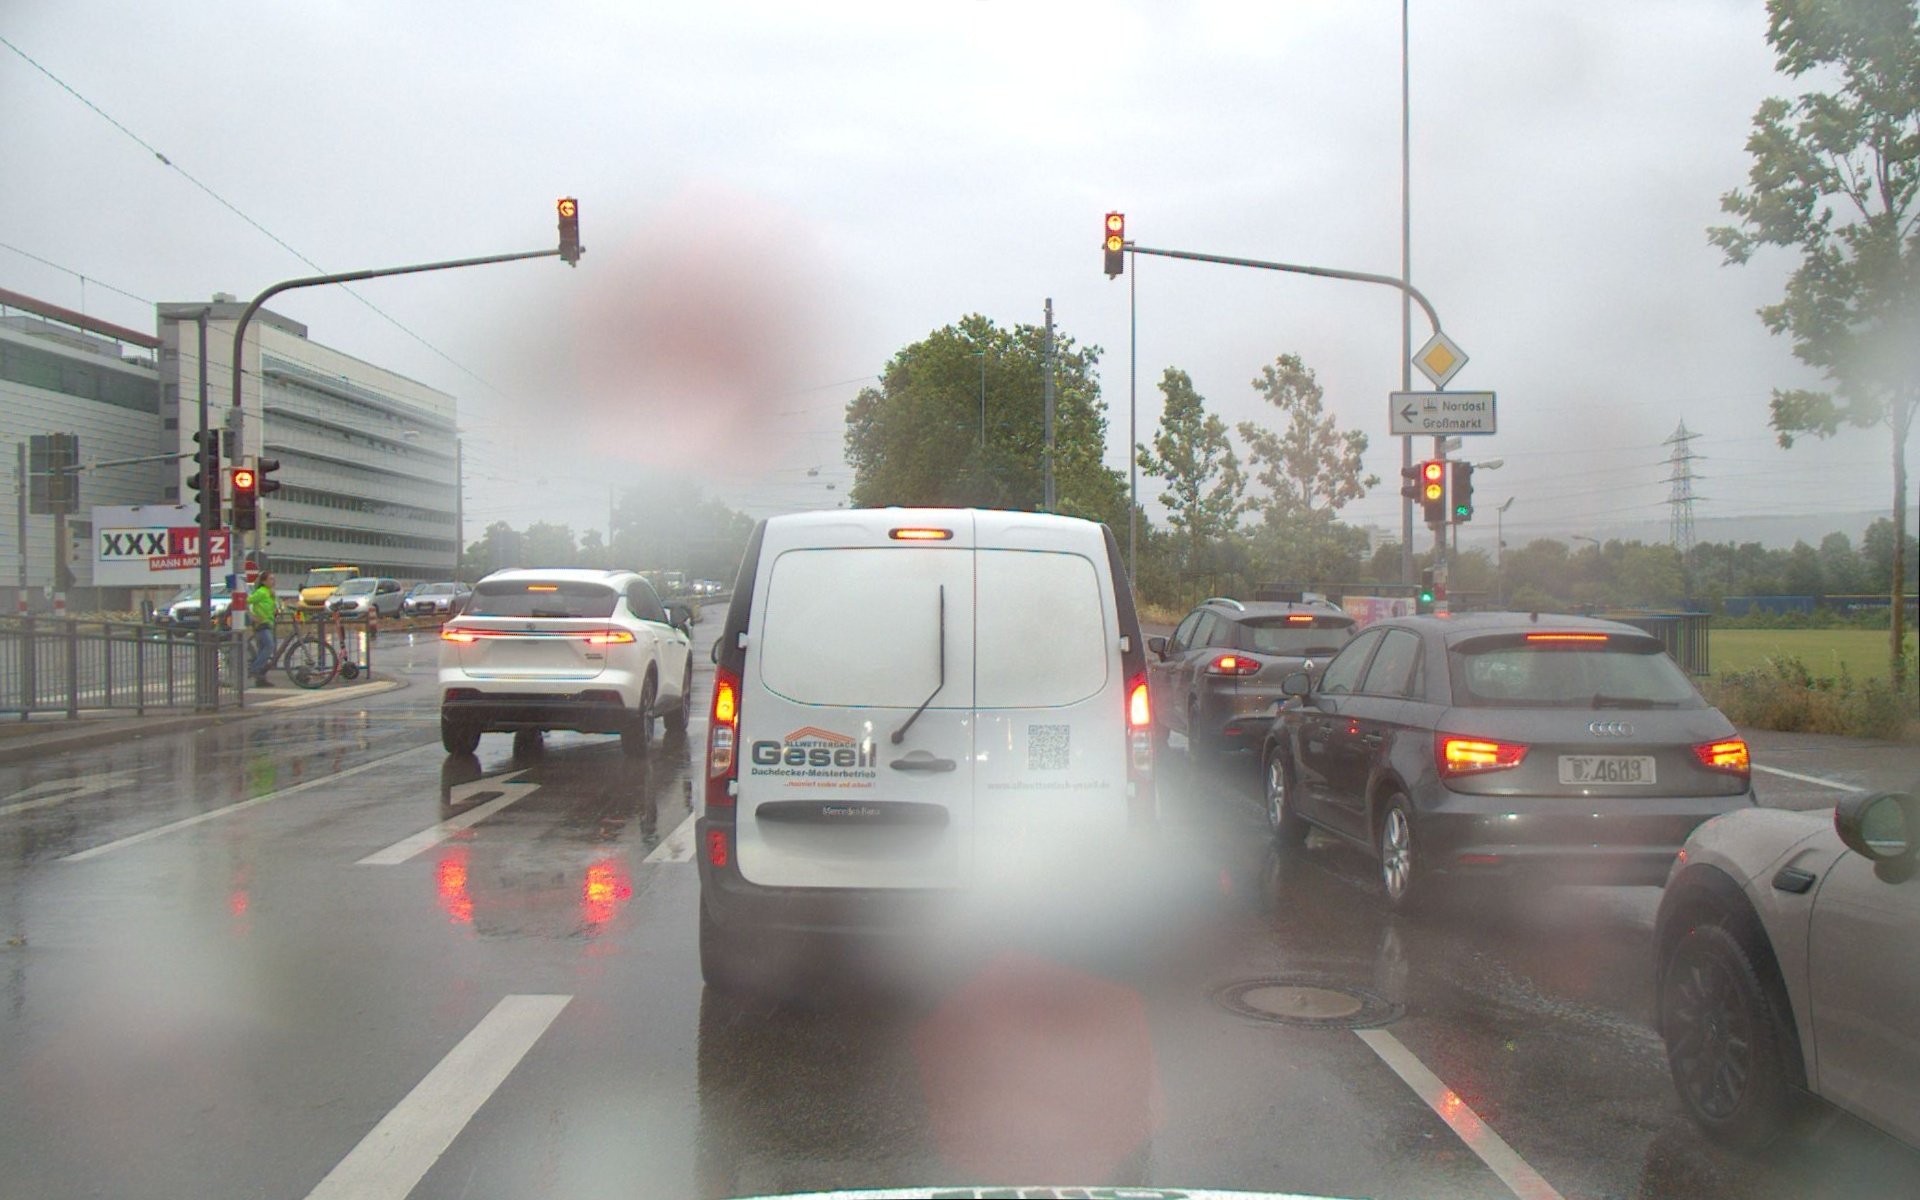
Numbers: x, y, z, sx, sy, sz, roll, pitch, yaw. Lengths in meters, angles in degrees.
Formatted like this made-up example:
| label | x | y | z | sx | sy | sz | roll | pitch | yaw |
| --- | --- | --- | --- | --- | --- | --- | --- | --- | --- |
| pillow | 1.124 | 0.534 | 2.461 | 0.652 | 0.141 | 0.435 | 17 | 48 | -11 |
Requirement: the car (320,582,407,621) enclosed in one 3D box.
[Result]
| label | x | y | z | sx | sy | sz | roll | pitch | yaw |
| --- | --- | --- | --- | --- | --- | --- | --- | --- | --- |
| car | -21.717 | 0.070 | 60.329 | 1.554 | 1.359 | 3.832 | 1 | -1 | 4 |

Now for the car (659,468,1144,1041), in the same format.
| label | x | y | z | sx | sy | sz | roll | pitch | yaw |
| --- | --- | --- | --- | --- | --- | --- | --- | --- | --- |
| car | -0.210 | 0.496 | 7.280 | 1.534 | 1.819 | 3.999 | 0 | 0 | -1 |

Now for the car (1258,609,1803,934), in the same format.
| label | x | y | z | sx | sy | sz | roll | pitch | yaw |
| --- | --- | --- | --- | --- | --- | --- | --- | --- | --- |
| car | 2.797 | 0.755 | 8.953 | 1.596 | 1.368 | 3.622 | 1 | 0 | -2 |

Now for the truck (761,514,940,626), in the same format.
| label | x | y | z | sx | sy | sz | roll | pitch | yaw |
| --- | --- | --- | --- | --- | --- | --- | --- | --- | --- |
| truck | -2.896 | -0.765 | 46.217 | 2.577 | 2.865 | 7.149 | 1 | 0 | 17 |

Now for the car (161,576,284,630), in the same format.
| label | x | y | z | sx | sy | sz | roll | pitch | yaw |
| --- | --- | --- | --- | --- | --- | --- | --- | --- | --- |
| car | -22.062 | 0.098 | 49.634 | 1.662 | 1.518 | 3.878 | 1 | 0 | 5 |

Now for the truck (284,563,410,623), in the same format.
| label | x | y | z | sx | sy | sz | roll | pitch | yaw |
| --- | --- | --- | --- | --- | --- | --- | --- | --- | --- |
| truck | -25.141 | -0.264 | 68.231 | 2.303 | 2.319 | 7.632 | 1 | 0 | 0 |

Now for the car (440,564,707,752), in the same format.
| label | x | y | z | sx | sy | sz | roll | pitch | yaw |
| --- | --- | --- | --- | --- | --- | --- | --- | --- | --- |
| car | -3.580 | 0.464 | 16.074 | 1.694 | 1.562 | 4.296 | 1 | 1 | -2 |

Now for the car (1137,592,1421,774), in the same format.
| label | x | y | z | sx | sy | sz | roll | pitch | yaw |
| --- | --- | --- | --- | --- | --- | --- | --- | --- | --- |
| car | 2.848 | 0.677 | 15.599 | 1.822 | 1.453 | 3.806 | 1 | 1 | -2 |

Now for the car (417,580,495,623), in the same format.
| label | x | y | z | sx | sy | sz | roll | pitch | yaw |
| --- | --- | --- | --- | --- | --- | --- | --- | --- | --- |
| car | -21.208 | 0.088 | 69.782 | 1.853 | 1.729 | 4.001 | 1 | 0 | 3 |

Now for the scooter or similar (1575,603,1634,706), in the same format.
| label | x | y | z | sx | sy | sz | roll | pitch | yaw |
| --- | --- | --- | --- | --- | --- | --- | --- | --- | --- |
| scooter or similar | 7.603 | 0.625 | 19.537 | 0.240 | 1.178 | 1.186 | 1 | 0 | 1 |

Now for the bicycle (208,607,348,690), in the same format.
| label | x | y | z | sx | sy | sz | roll | pitch | yaw |
| --- | --- | --- | --- | --- | --- | --- | --- | --- | --- |
| bicycle | -9.609 | 0.683 | 23.329 | 1.716 | 1.052 | 0.414 | 4 | -1 | -3 |

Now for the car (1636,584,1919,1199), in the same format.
| label | x | y | z | sx | sy | sz | roll | pitch | yaw |
| --- | --- | --- | --- | --- | --- | --- | --- | --- | --- |
| car | 2.947 | 0.748 | 3.213 | 1.679 | 1.534 | 3.622 | 1 | 0 | -2 |

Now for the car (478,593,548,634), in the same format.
| label | x | y | z | sx | sy | sz | roll | pitch | yaw |
| --- | --- | --- | --- | --- | --- | --- | --- | --- | --- |
| car | -20.800 | 0.627 | 77.102 | 1.889 | 1.859 | 4.002 | 1 | 0 | 4 |
